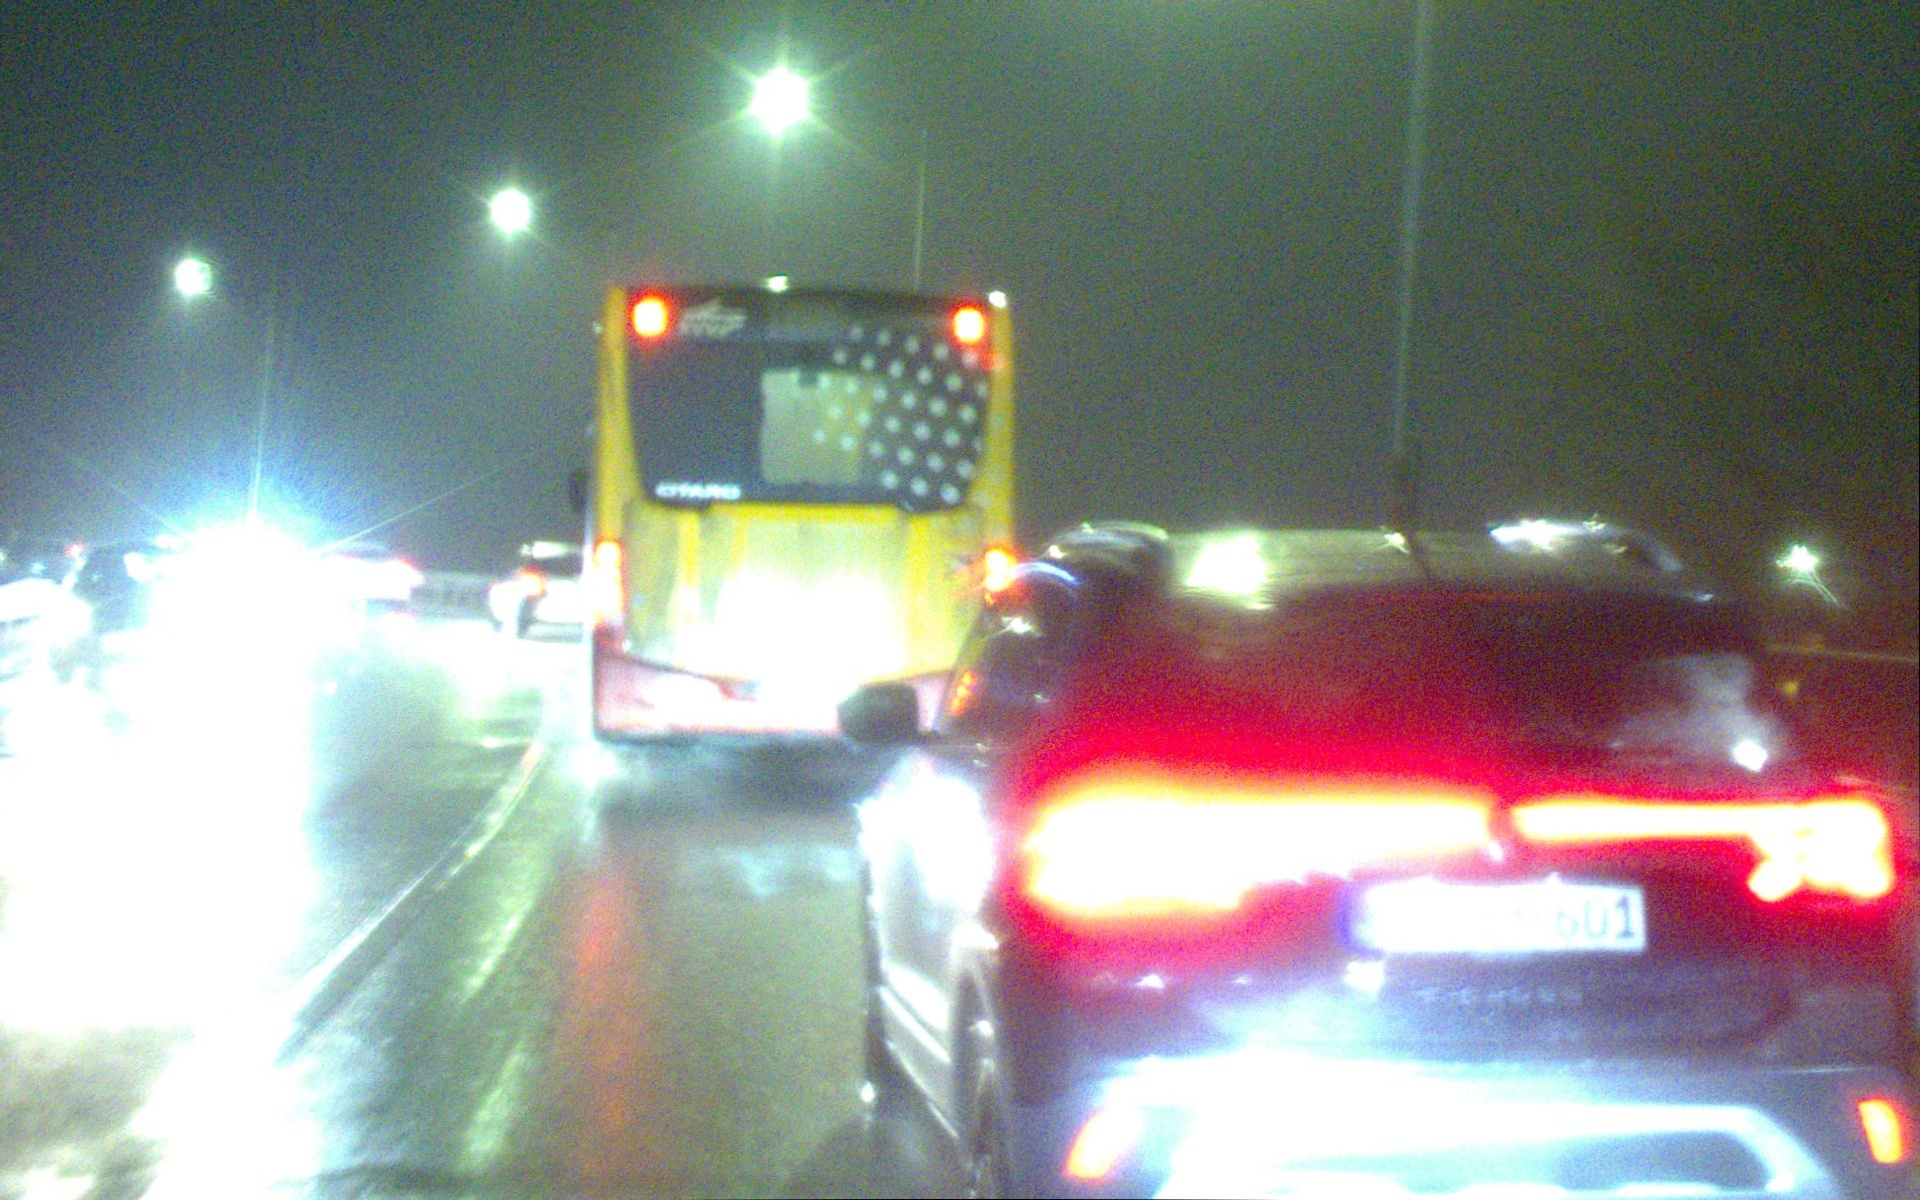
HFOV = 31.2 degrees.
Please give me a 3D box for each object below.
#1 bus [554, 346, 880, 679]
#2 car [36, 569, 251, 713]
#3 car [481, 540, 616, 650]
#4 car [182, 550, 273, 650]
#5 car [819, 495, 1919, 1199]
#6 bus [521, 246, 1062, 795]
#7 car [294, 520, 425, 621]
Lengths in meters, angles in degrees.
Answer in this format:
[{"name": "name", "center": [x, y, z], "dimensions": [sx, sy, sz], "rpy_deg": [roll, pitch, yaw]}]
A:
[{"name": "bus", "center": [-2.726, -1.103, 36.441], "dimensions": [3.048, 3.120, 8.082], "rpy_deg": [-1, 4, -6]}, {"name": "car", "center": [-8.673, 0.389, 36.815], "dimensions": [1.766, 1.422, 4.220], "rpy_deg": [0, 1, -7]}, {"name": "car", "center": [-6.596, -0.115, 54.888], "dimensions": [1.635, 1.650, 3.711], "rpy_deg": [0, 2, -15]}, {"name": "car", "center": [-12.569, -0.020, 59.001], "dimensions": [1.470, 1.579, 3.192], "rpy_deg": [1, 2, -12]}, {"name": "car", "center": [0.663, 0.599, 7.724], "dimensions": [1.855, 1.581, 4.001], "rpy_deg": [0, 1, -4]}, {"name": "bus", "center": [-1.661, -0.610, 26.238], "dimensions": [3.083, 3.122, 12.700], "rpy_deg": [1, 1, -6]}, {"name": "car", "center": [-12.438, -0.629, 71.063], "dimensions": [1.993, 2.007, 4.001], "rpy_deg": [1, 1, -20]}]
